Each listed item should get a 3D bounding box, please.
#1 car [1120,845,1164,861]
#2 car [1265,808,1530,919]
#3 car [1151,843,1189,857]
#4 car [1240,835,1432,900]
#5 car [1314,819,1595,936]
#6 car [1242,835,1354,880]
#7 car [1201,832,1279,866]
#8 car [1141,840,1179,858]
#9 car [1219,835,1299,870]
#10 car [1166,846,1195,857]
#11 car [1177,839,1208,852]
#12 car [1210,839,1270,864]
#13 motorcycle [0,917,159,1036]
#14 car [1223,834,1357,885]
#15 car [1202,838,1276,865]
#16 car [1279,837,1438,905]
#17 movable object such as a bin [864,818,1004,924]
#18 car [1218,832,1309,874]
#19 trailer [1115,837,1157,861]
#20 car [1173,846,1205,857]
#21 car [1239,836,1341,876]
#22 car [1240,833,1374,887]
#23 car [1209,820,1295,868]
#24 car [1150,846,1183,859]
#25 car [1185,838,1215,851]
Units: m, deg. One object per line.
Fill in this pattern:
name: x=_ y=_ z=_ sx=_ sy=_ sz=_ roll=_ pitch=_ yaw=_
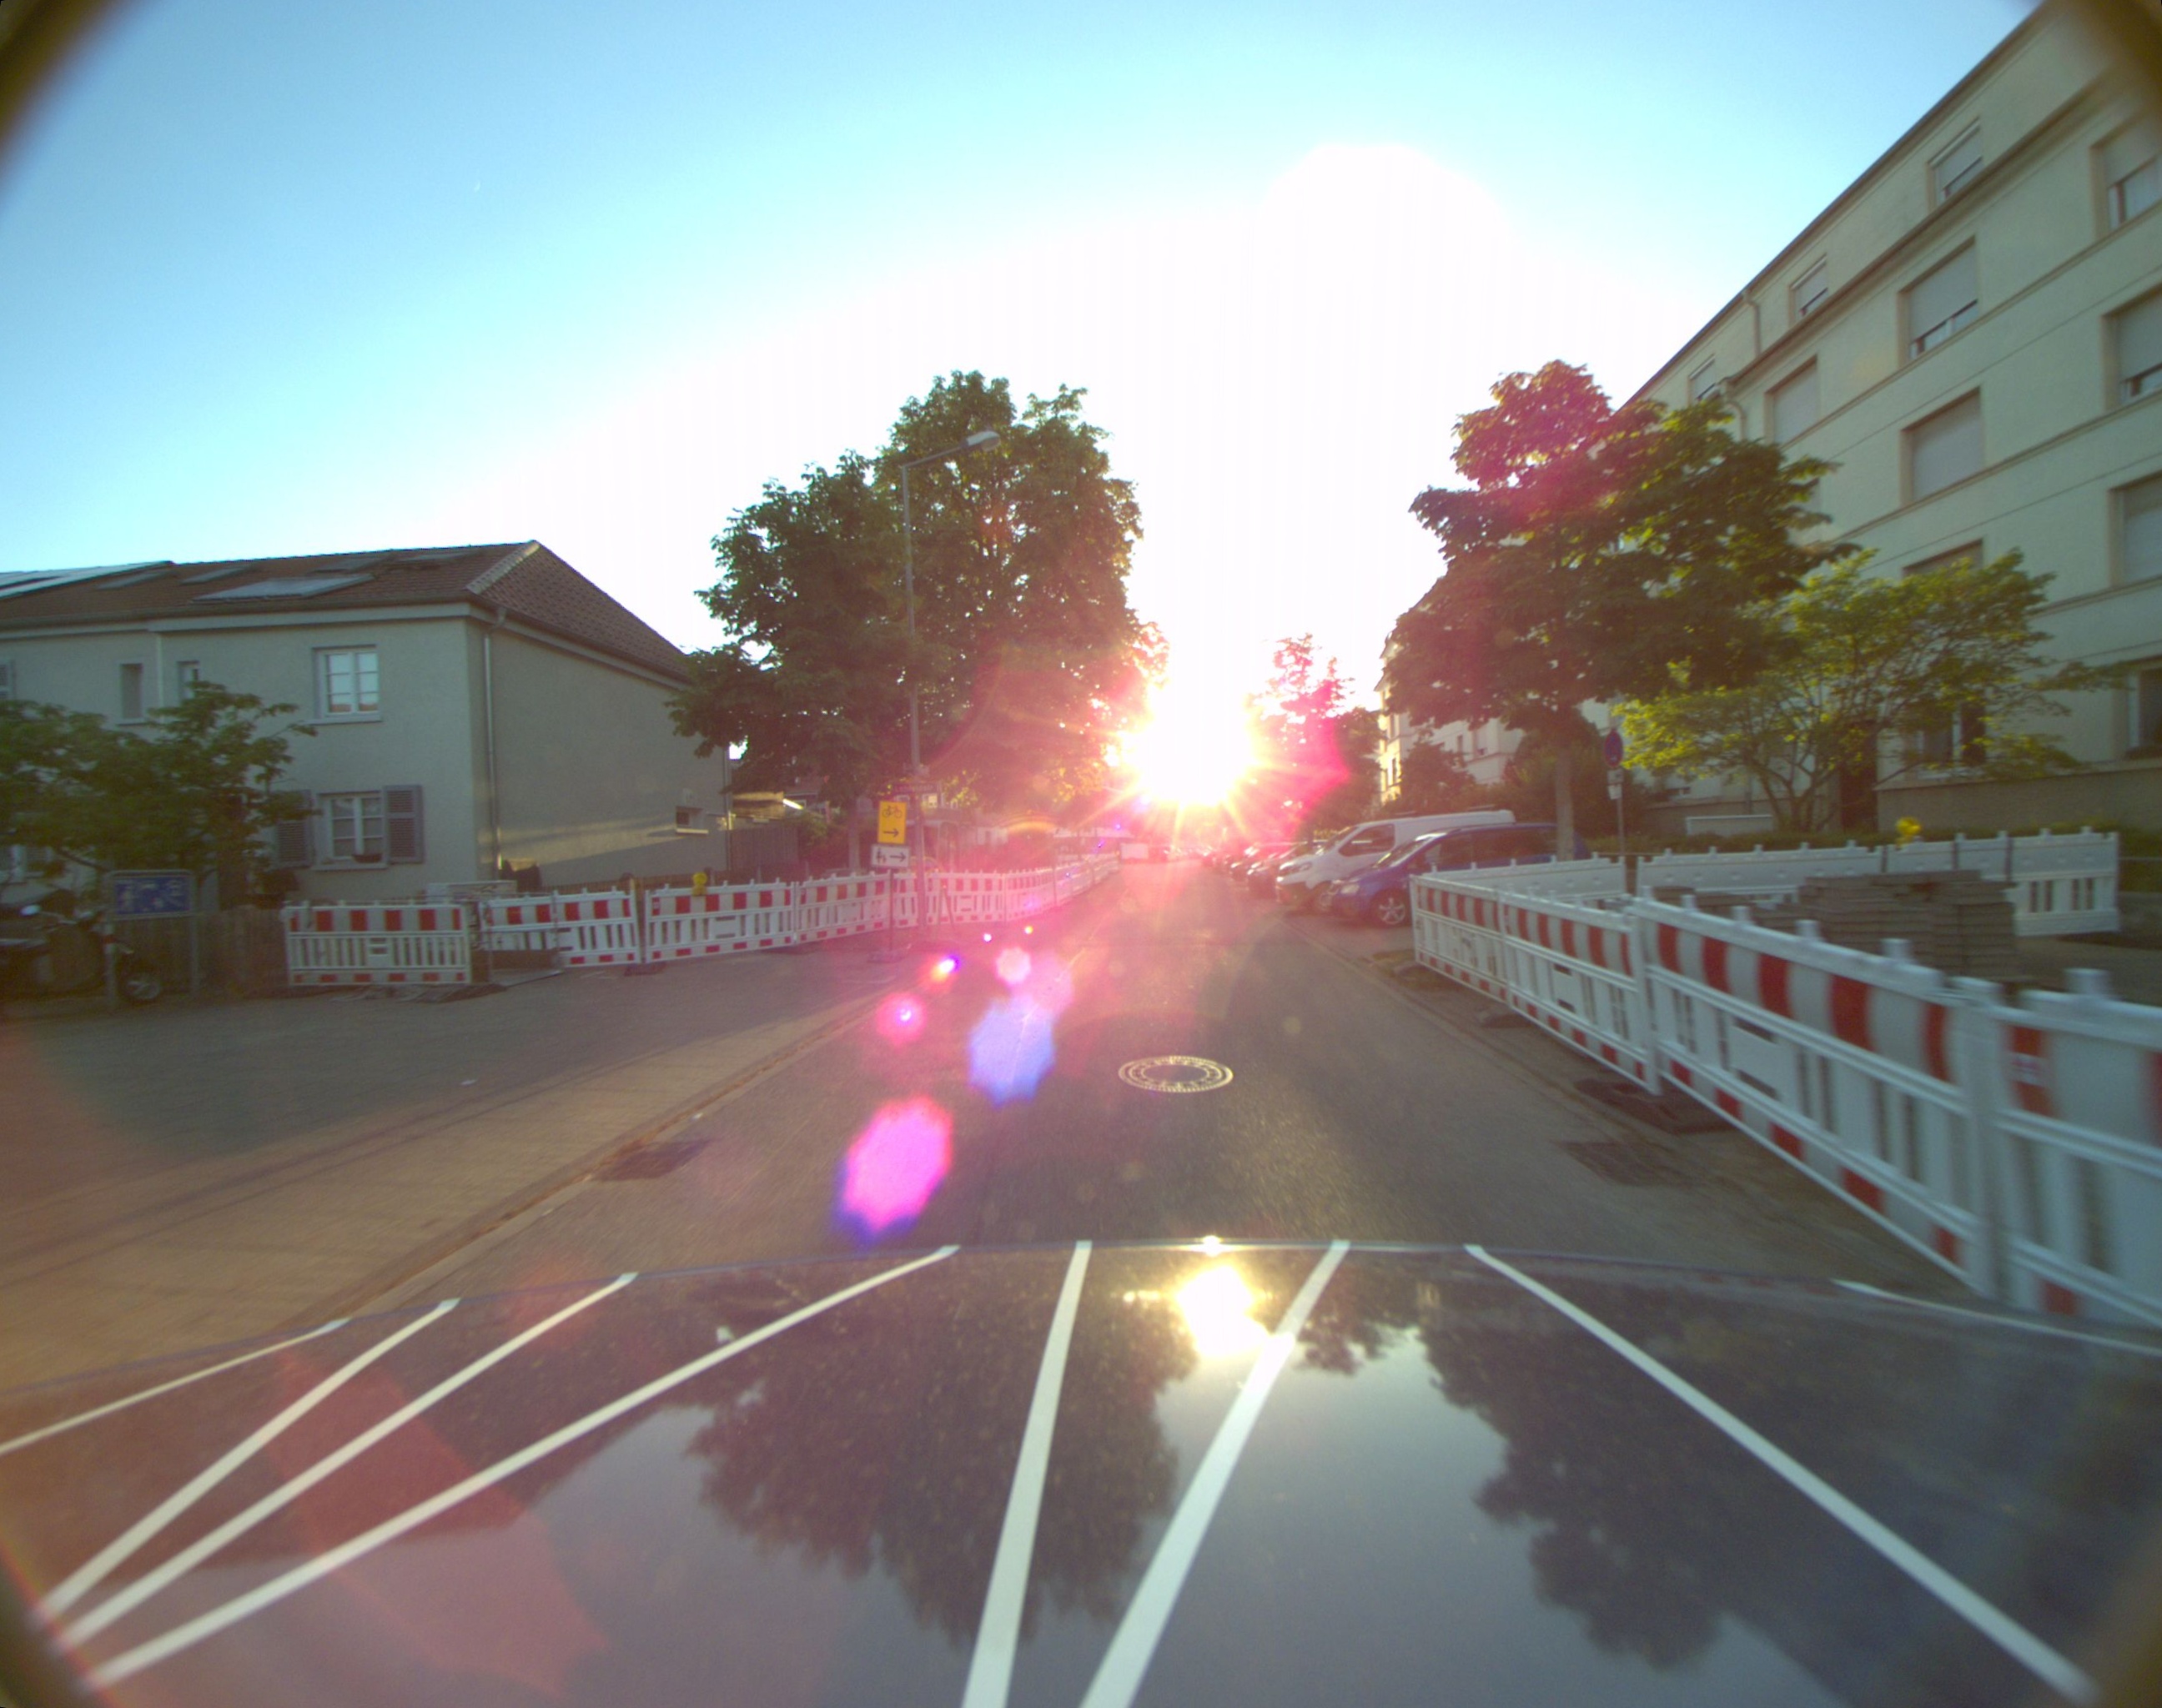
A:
car: x=6.577 y=-0.093 z=82.021 sx=4.433 sy=1.490 sz=1.775 roll=-3 pitch=0 yaw=15
car: x=6.567 y=0.194 z=16.241 sx=4.782 sy=2.002 sz=2.001 roll=-3 pitch=0 yaw=5
car: x=12.038 y=-0.496 z=102.547 sx=4.792 sy=1.744 sz=2.020 roll=1 pitch=0 yaw=14
car: x=7.050 y=0.354 z=21.430 sx=4.782 sy=1.462 sz=1.881 roll=-4 pitch=1 yaw=5
car: x=6.402 y=0.384 z=13.398 sx=3.996 sy=1.742 sz=1.800 roll=-3 pitch=0 yaw=3
car: x=8.678 y=0.149 z=30.603 sx=3.996 sy=1.574 sz=1.731 roll=-3 pitch=0 yaw=2
car: x=10.025 y=-0.329 z=48.238 sx=4.682 sy=1.863 sz=2.001 roll=-3 pitch=0 yaw=7
car: x=9.071 y=-0.589 z=87.342 sx=3.993 sy=1.893 sz=2.002 roll=-3 pitch=0 yaw=14
car: x=9.094 y=-0.067 z=39.080 sx=3.867 sy=1.585 sz=1.786 roll=-3 pitch=0 yaw=9
car: x=15.072 y=-0.423 z=114.865 sx=3.992 sy=1.537 sz=1.847 roll=1 pitch=2 yaw=16
car: x=18.277 y=-1.380 z=124.279 sx=4.592 sy=1.851 sz=2.014 roll=2 pitch=2 yaw=18
car: x=10.610 y=-0.170 z=50.840 sx=3.776 sy=1.430 sz=1.656 roll=-3 pitch=0 yaw=9
motorcycle: x=-11.089 y=1.296 z=7.883 sx=0.579 sy=1.099 sz=1.850 roll=-2 pitch=1 yaw=34
car: x=7.670 y=0.196 z=28.247 sx=4.417 sy=1.605 sz=1.900 roll=-3 pitch=0 yaw=2
car: x=9.488 y=-0.155 z=45.936 sx=4.183 sy=1.417 sz=2.001 roll=-3 pitch=0 yaw=8
car: x=6.878 y=0.405 z=19.148 sx=3.421 sy=1.475 sz=1.759 roll=-3 pitch=0 yaw=7
movable object such as a bin: x=-3.728 y=0.400 z=20.534 sx=2.635 sy=2.389 sz=5.197 roll=-3 pitch=0 yaw=0
car: x=8.586 y=-0.062 z=36.000 sx=3.869 sy=1.767 sz=1.843 roll=-3 pitch=1 yaw=3
trailer: x=5.691 y=-0.519 z=78.519 sx=3.993 sy=2.175 sz=2.002 roll=-3 pitch=0 yaw=15
car: x=16.995 y=-0.476 z=119.497 sx=4.700 sy=1.622 sz=2.002 roll=1 pitch=1 yaw=18
car: x=9.075 y=0.083 z=33.241 sx=3.996 sy=1.515 sz=1.790 roll=-3 pitch=0 yaw=3
car: x=7.603 y=0.199 z=25.820 sx=3.996 sy=1.569 sz=1.801 roll=-3 pitch=0 yaw=2
car: x=9.670 y=-0.549 z=43.274 sx=4.511 sy=2.417 sz=2.001 roll=-3 pitch=1 yaw=7
car: x=10.986 y=-0.234 z=97.210 sx=3.992 sy=1.609 sz=1.897 roll=0 pitch=1 yaw=14
car: x=21.824 y=-1.690 z=139.491 sx=4.966 sy=2.089 sz=2.153 roll=-3 pitch=1 yaw=21
